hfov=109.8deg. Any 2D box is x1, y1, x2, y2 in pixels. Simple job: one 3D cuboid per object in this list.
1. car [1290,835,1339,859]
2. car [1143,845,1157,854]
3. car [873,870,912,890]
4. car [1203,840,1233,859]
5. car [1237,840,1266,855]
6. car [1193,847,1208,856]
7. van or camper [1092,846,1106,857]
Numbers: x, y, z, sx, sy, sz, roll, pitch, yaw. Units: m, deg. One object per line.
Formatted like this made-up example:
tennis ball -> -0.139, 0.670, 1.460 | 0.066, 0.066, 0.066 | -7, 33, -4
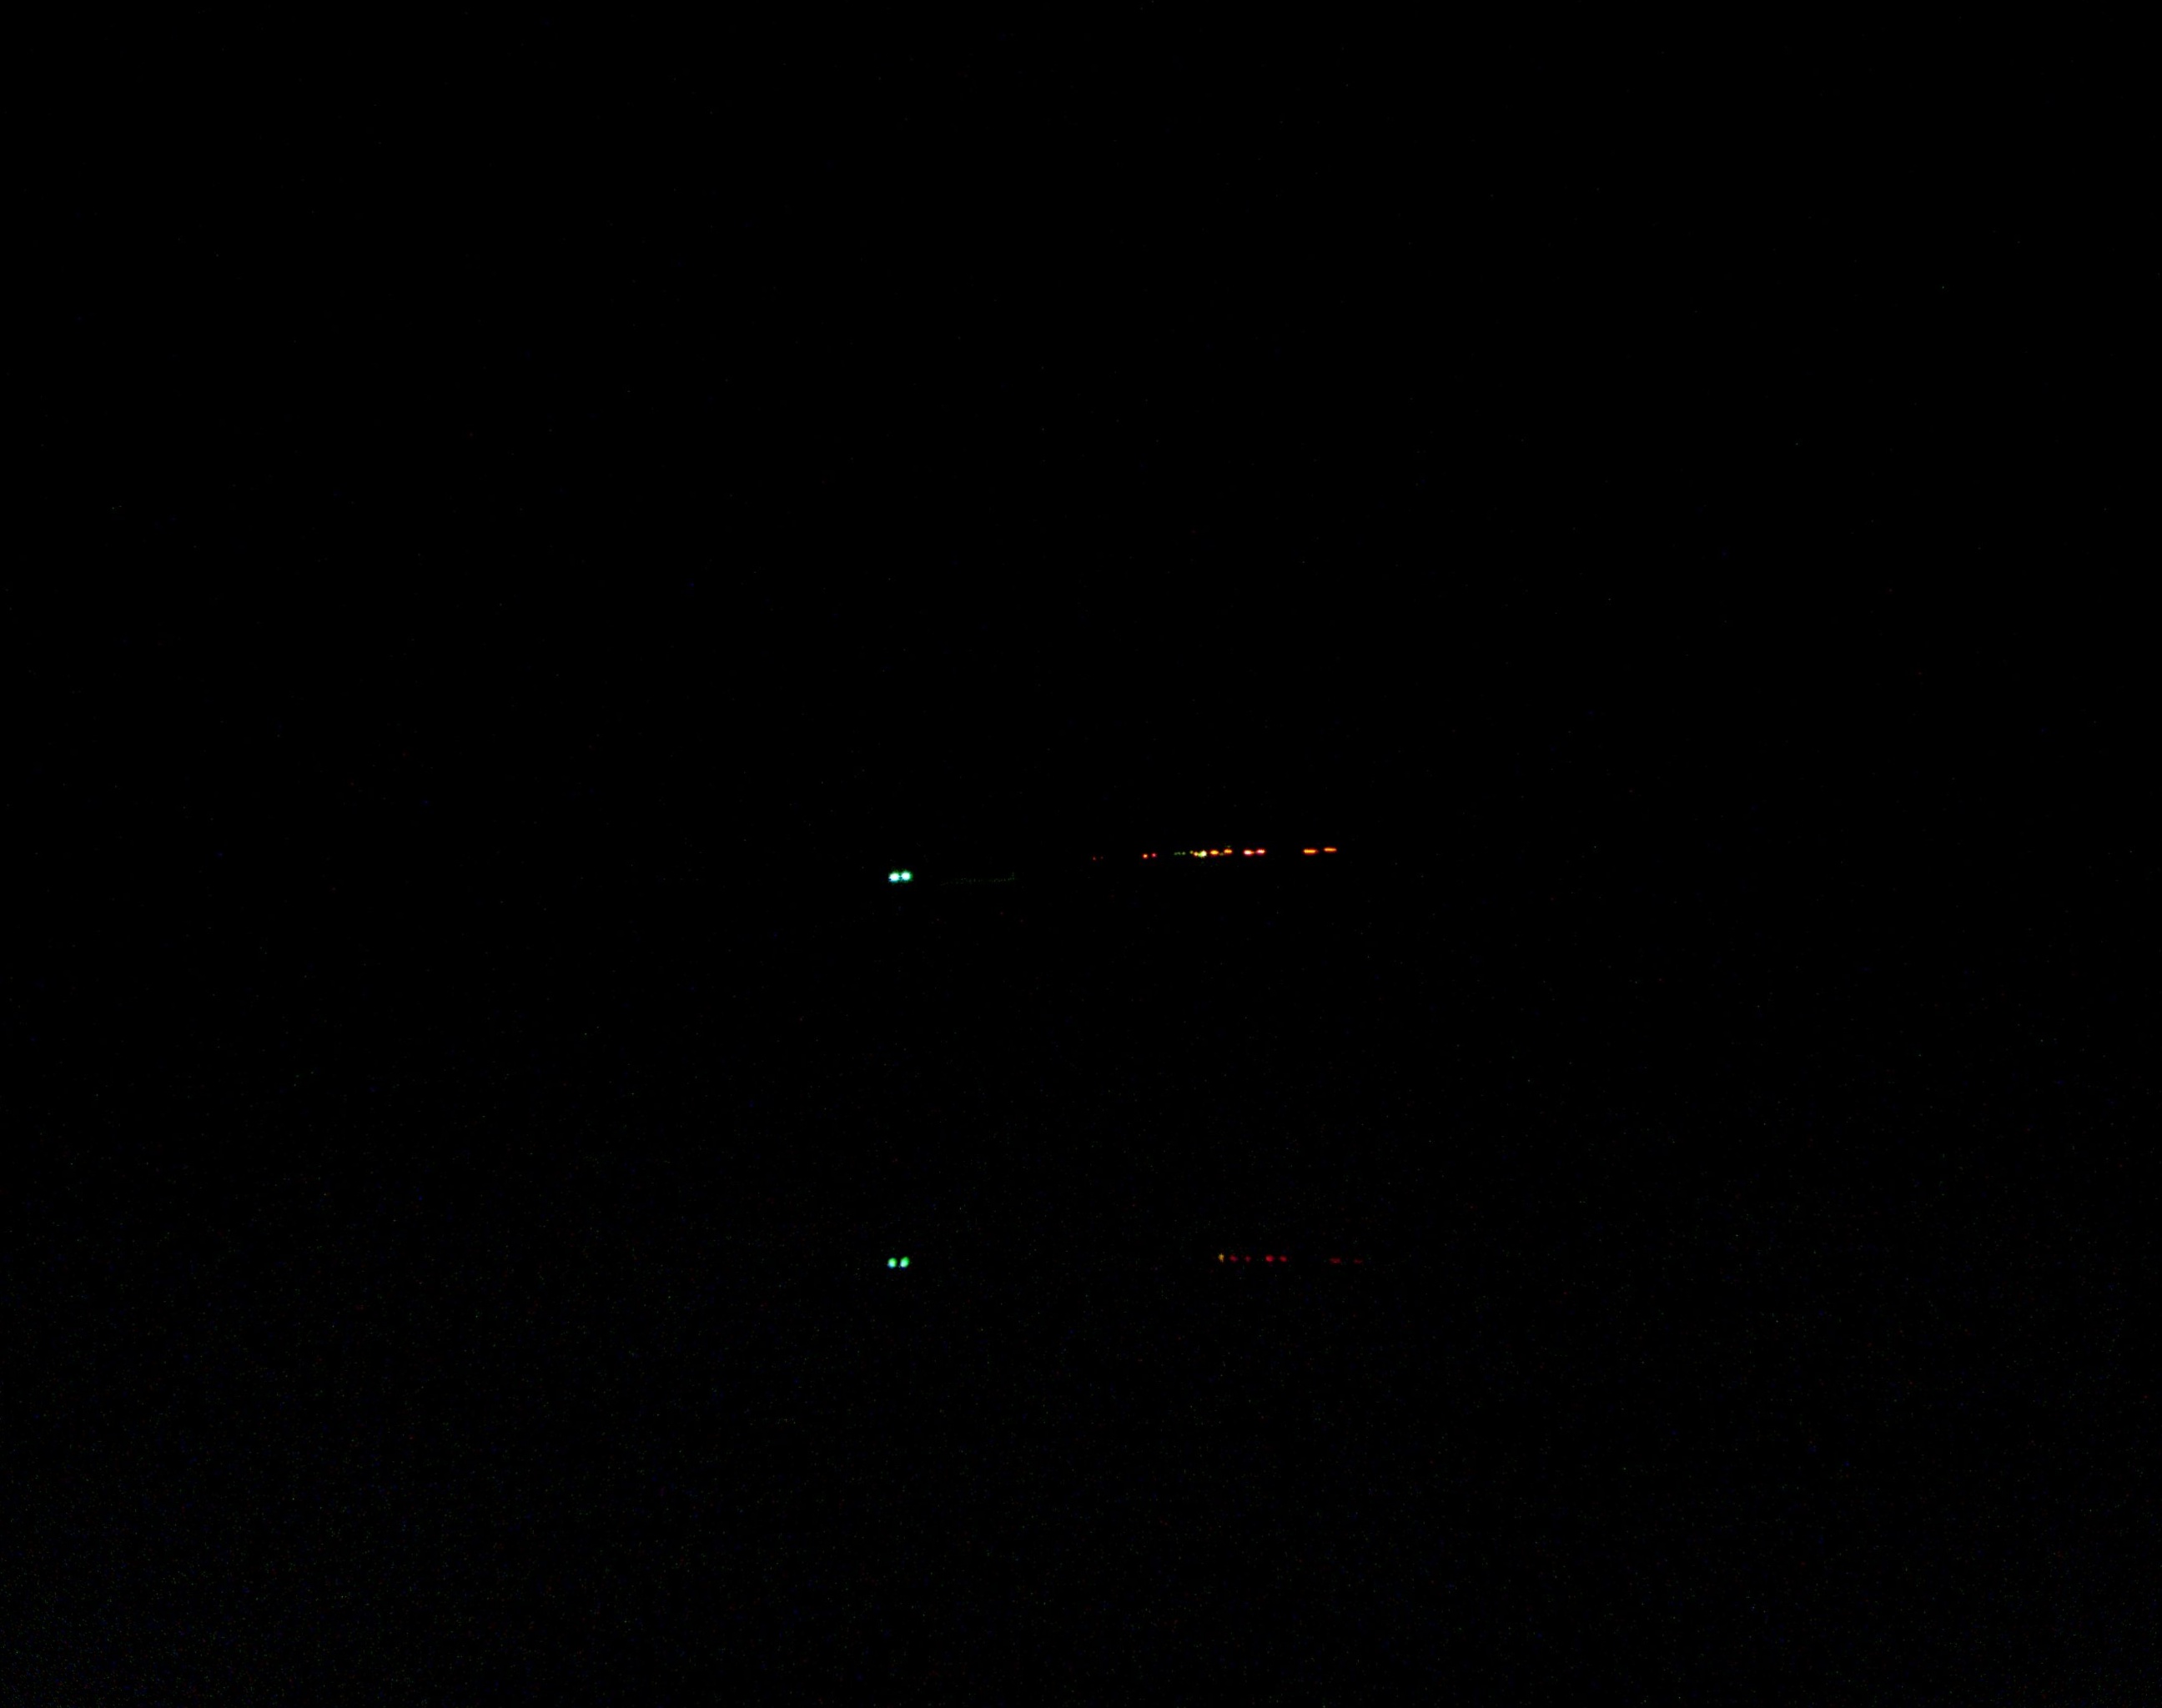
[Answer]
car -> 15.763, -0.468, 51.495 | 1.963, 1.448, 4.336 | -3, 0, 1
car -> 11.940, -0.781, 131.292 | 1.963, 1.448, 4.471 | -3, 0, 1
car -> -20.823, 2.882, 83.945 | 3.990, 1.843, 2.003 | -5, 1, 37
car -> 13.188, -0.416, 73.408 | 1.963, 1.723, 5.079 | -3, 0, 1
car -> 18.422, -0.702, 82.316 | 1.776, 1.403, 4.843 | -5, 1, -1
car -> 20.842, -0.398, 132.449 | 1.963, 1.448, 4.170 | -3, 0, 1
van or camper -> 4.190, -0.572, 181.551 | 2.301, 2.602, 7.662 | -4, 0, -5
